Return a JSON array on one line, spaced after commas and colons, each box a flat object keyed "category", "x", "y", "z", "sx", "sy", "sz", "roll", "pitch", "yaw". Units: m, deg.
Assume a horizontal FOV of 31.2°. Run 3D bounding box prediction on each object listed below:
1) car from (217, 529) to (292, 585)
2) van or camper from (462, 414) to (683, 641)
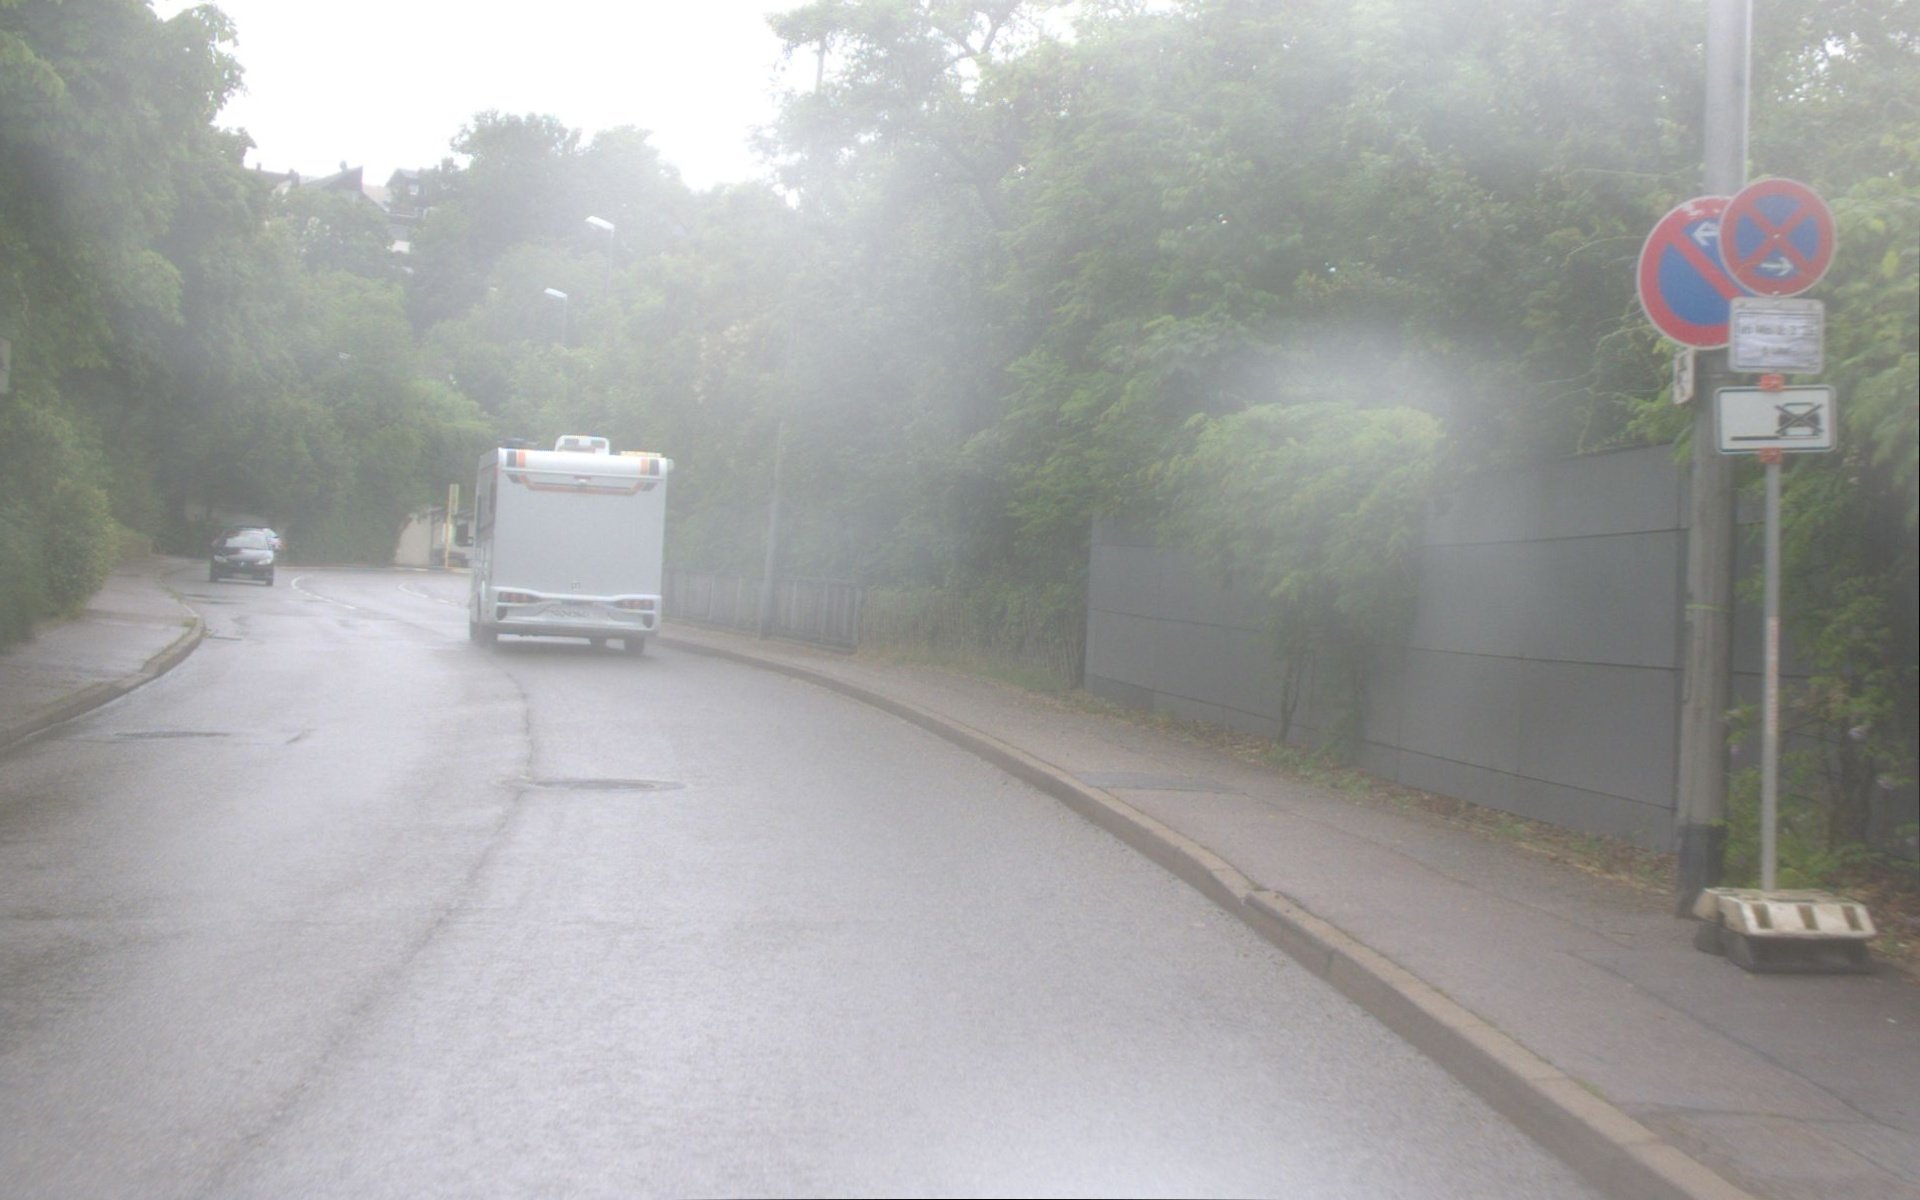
[{"category": "car", "x": -18.566, "y": -1.144, "z": 90.560, "sx": 1.650, "sy": 1.380, "sz": 3.530, "roll": 2, "pitch": 1, "yaw": -8}, {"category": "van or camper", "x": -5.418, "y": -0.937, "z": 47.321, "sx": 2.539, "sy": 2.915, "sz": 5.949, "roll": 0, "pitch": 0, "yaw": -11}]
